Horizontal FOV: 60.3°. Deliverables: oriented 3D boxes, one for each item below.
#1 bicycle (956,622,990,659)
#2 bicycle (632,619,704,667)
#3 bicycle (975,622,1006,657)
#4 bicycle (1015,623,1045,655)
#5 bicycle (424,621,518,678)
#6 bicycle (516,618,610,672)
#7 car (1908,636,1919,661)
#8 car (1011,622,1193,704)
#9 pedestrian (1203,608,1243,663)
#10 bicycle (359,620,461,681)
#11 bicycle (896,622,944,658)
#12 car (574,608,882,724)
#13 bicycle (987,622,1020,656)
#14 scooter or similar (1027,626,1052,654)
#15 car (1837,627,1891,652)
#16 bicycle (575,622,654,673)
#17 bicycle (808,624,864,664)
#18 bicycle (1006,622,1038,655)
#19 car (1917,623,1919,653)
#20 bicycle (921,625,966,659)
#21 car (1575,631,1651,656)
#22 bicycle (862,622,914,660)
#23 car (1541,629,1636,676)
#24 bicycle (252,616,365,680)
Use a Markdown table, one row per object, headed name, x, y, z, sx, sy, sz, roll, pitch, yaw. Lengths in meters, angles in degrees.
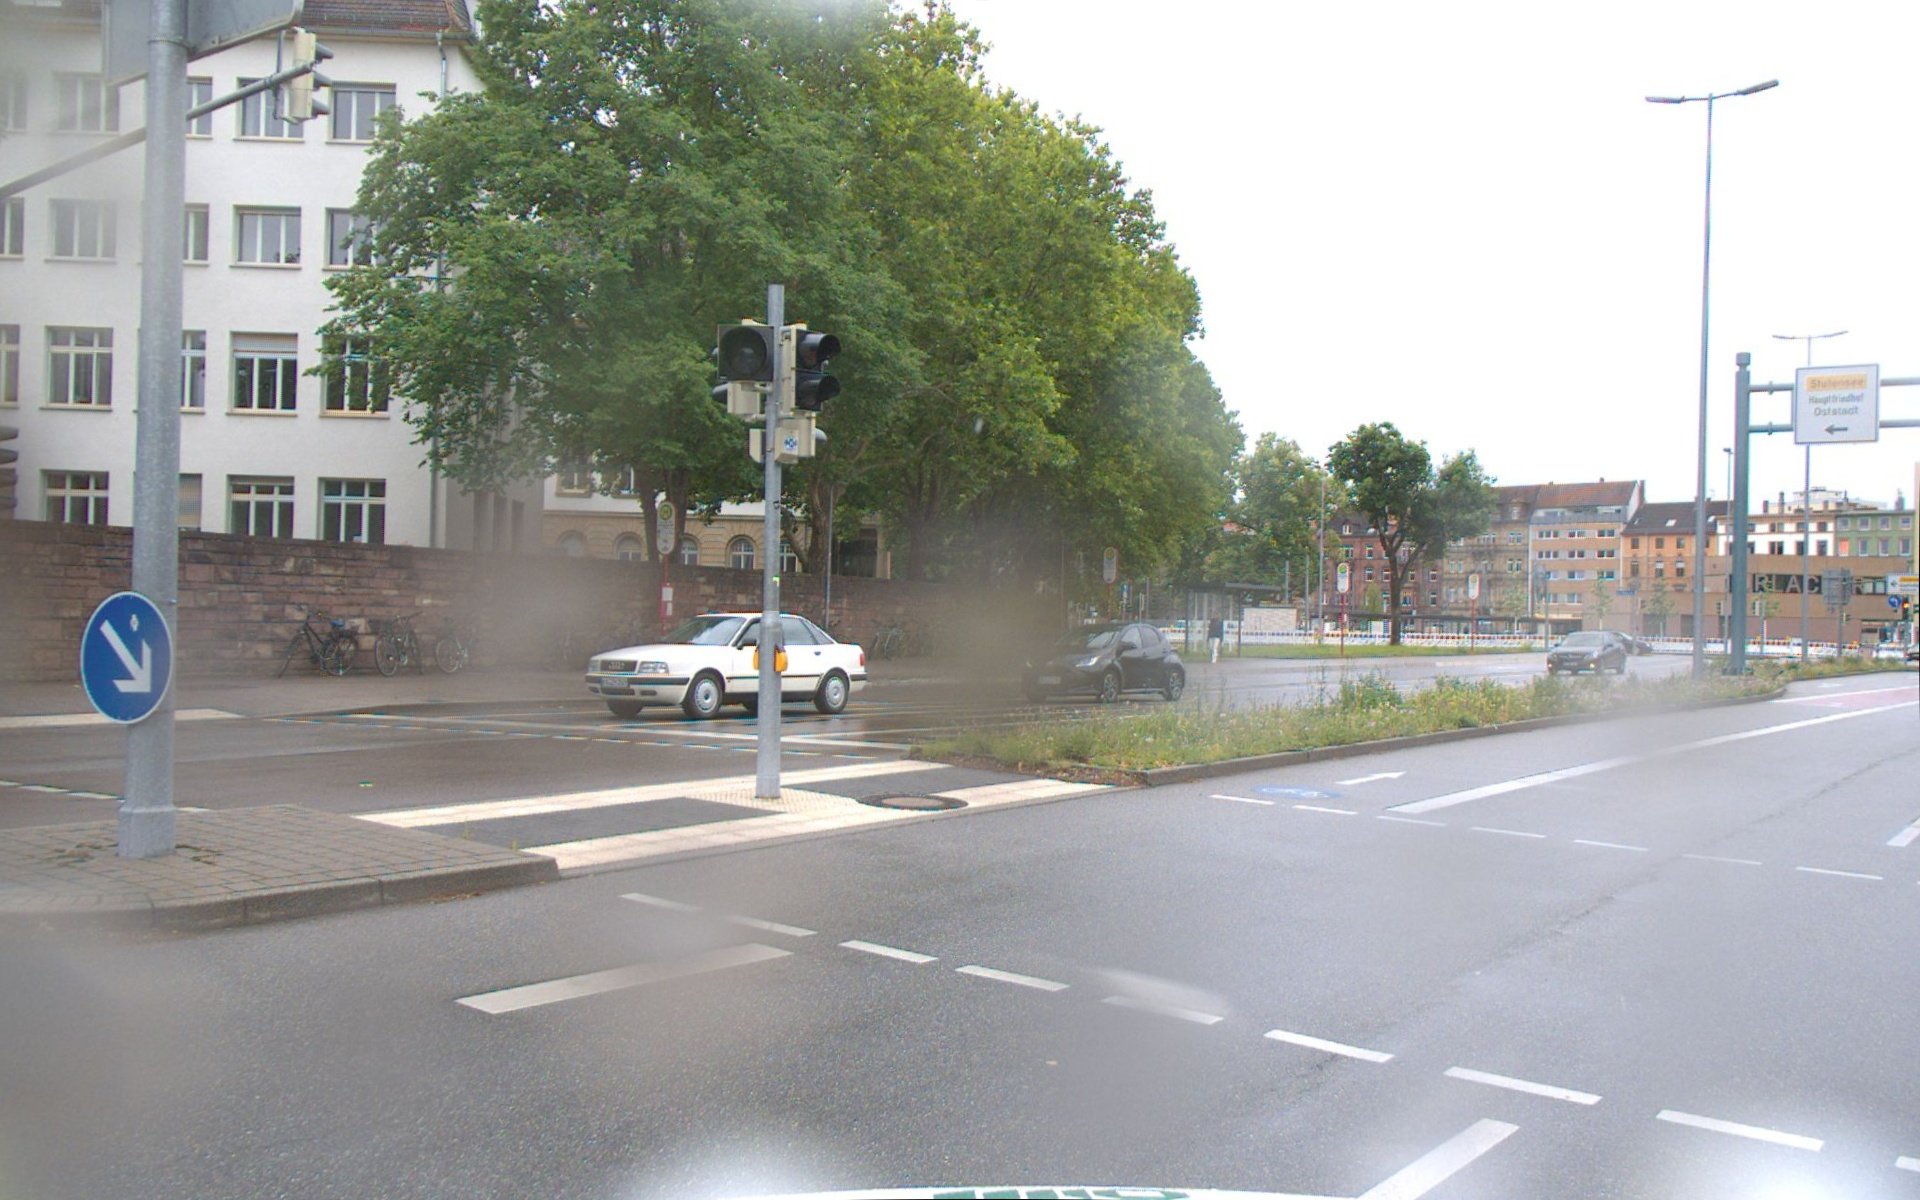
| name | x | y | z | sx | sy | sz | roll | pitch | yaw |
| --- | --- | --- | --- | --- | --- | --- | --- | --- | --- |
| bicycle | 0.426 | 1.291 | 53.223 | 0.561 | 1.156 | 1.993 | 1 | -1 | 15 |
| bicycle | -6.388 | 0.934 | 36.245 | 0.716 | 1.000 | 1.700 | 1 | -1 | 24 |
| bicycle | 1.030 | 1.325 | 55.567 | 0.561 | 1.156 | 1.993 | 1 | -1 | 15 |
| bicycle | 2.626 | 1.440 | 61.776 | 0.561 | 1.156 | 1.992 | 1 | -1 | 19 |
| bicycle | -9.057 | 0.902 | 30.669 | 0.716 | 1.000 | 1.700 | 1 | -1 | 24 |
| bicycle | -7.762 | 0.879 | 32.416 | 0.717 | 1.000 | 1.862 | 1 | -1 | 28 |
| car | 67.705 | 3.395 | 115.660 | 1.680 | 1.736 | 3.797 | 1 | -1 | 42 |
| car | 2.731 | 1.155 | 31.016 | 1.596 | 1.440 | 4.051 | -1 | -2 | 35 |
| pedestrian | 8.590 | 1.154 | 53.983 | 0.852 | 1.725 | 1.397 | 1 | -1 | 29 |
| bicycle | -9.637 | 0.875 | 29.031 | 0.716 | 1.000 | 1.700 | 1 | -1 | 24 |
| bicycle | -1.161 | 1.158 | 48.080 | 0.716 | 1.000 | 1.700 | 1 | -1 | 24 |
| car | -3.077 | 0.883 | 22.841 | 1.569 | 1.440 | 4.507 | -1 | -2 | 35 |
| bicycle | 1.523 | 1.354 | 57.584 | 0.561 | 1.156 | 1.992 | 1 | -1 | 19 |
| scooter or similar | 3.046 | 1.521 | 63.165 | 0.560 | 1.065 | 1.362 | 1 | -1 | 19 |
| car | 107.339 | 4.677 | 196.510 | 5.272 | 2.938 | 2.325 | 0 | -1 | 42 |
| bicycle | -7.132 | 0.973 | 34.202 | 0.716 | 1.000 | 1.700 | 1 | -1 | 24 |
| bicycle | -3.219 | 1.150 | 43.145 | 0.716 | 1.000 | 1.700 | 1 | -1 | 24 |
| bicycle | 2.251 | 1.389 | 59.743 | 0.561 | 1.156 | 1.992 | 1 | -1 | 19 |
| car | 114.068 | 4.460 | 190.131 | 6.642 | 3.439 | 2.792 | 1 | -1 | 42 |
| bicycle | -0.495 | 1.275 | 50.194 | 0.716 | 1.000 | 1.700 | 1 | -1 | 24 |
| car | 40.608 | 2.673 | 102.871 | 4.116 | 1.427 | 1.613 | 1 | -1 | 33 |
| bicycle | -1.967 | 1.119 | 45.136 | 0.716 | 1.000 | 1.700 | 1 | -1 | 24 |
| car | 22.206 | 1.842 | 58.342 | 1.780 | 1.567 | 4.680 | -1 | -2 | 39 |
| bicycle | -10.754 | 0.785 | 27.353 | 0.716 | 1.000 | 1.700 | 1 | -1 | 24 |
